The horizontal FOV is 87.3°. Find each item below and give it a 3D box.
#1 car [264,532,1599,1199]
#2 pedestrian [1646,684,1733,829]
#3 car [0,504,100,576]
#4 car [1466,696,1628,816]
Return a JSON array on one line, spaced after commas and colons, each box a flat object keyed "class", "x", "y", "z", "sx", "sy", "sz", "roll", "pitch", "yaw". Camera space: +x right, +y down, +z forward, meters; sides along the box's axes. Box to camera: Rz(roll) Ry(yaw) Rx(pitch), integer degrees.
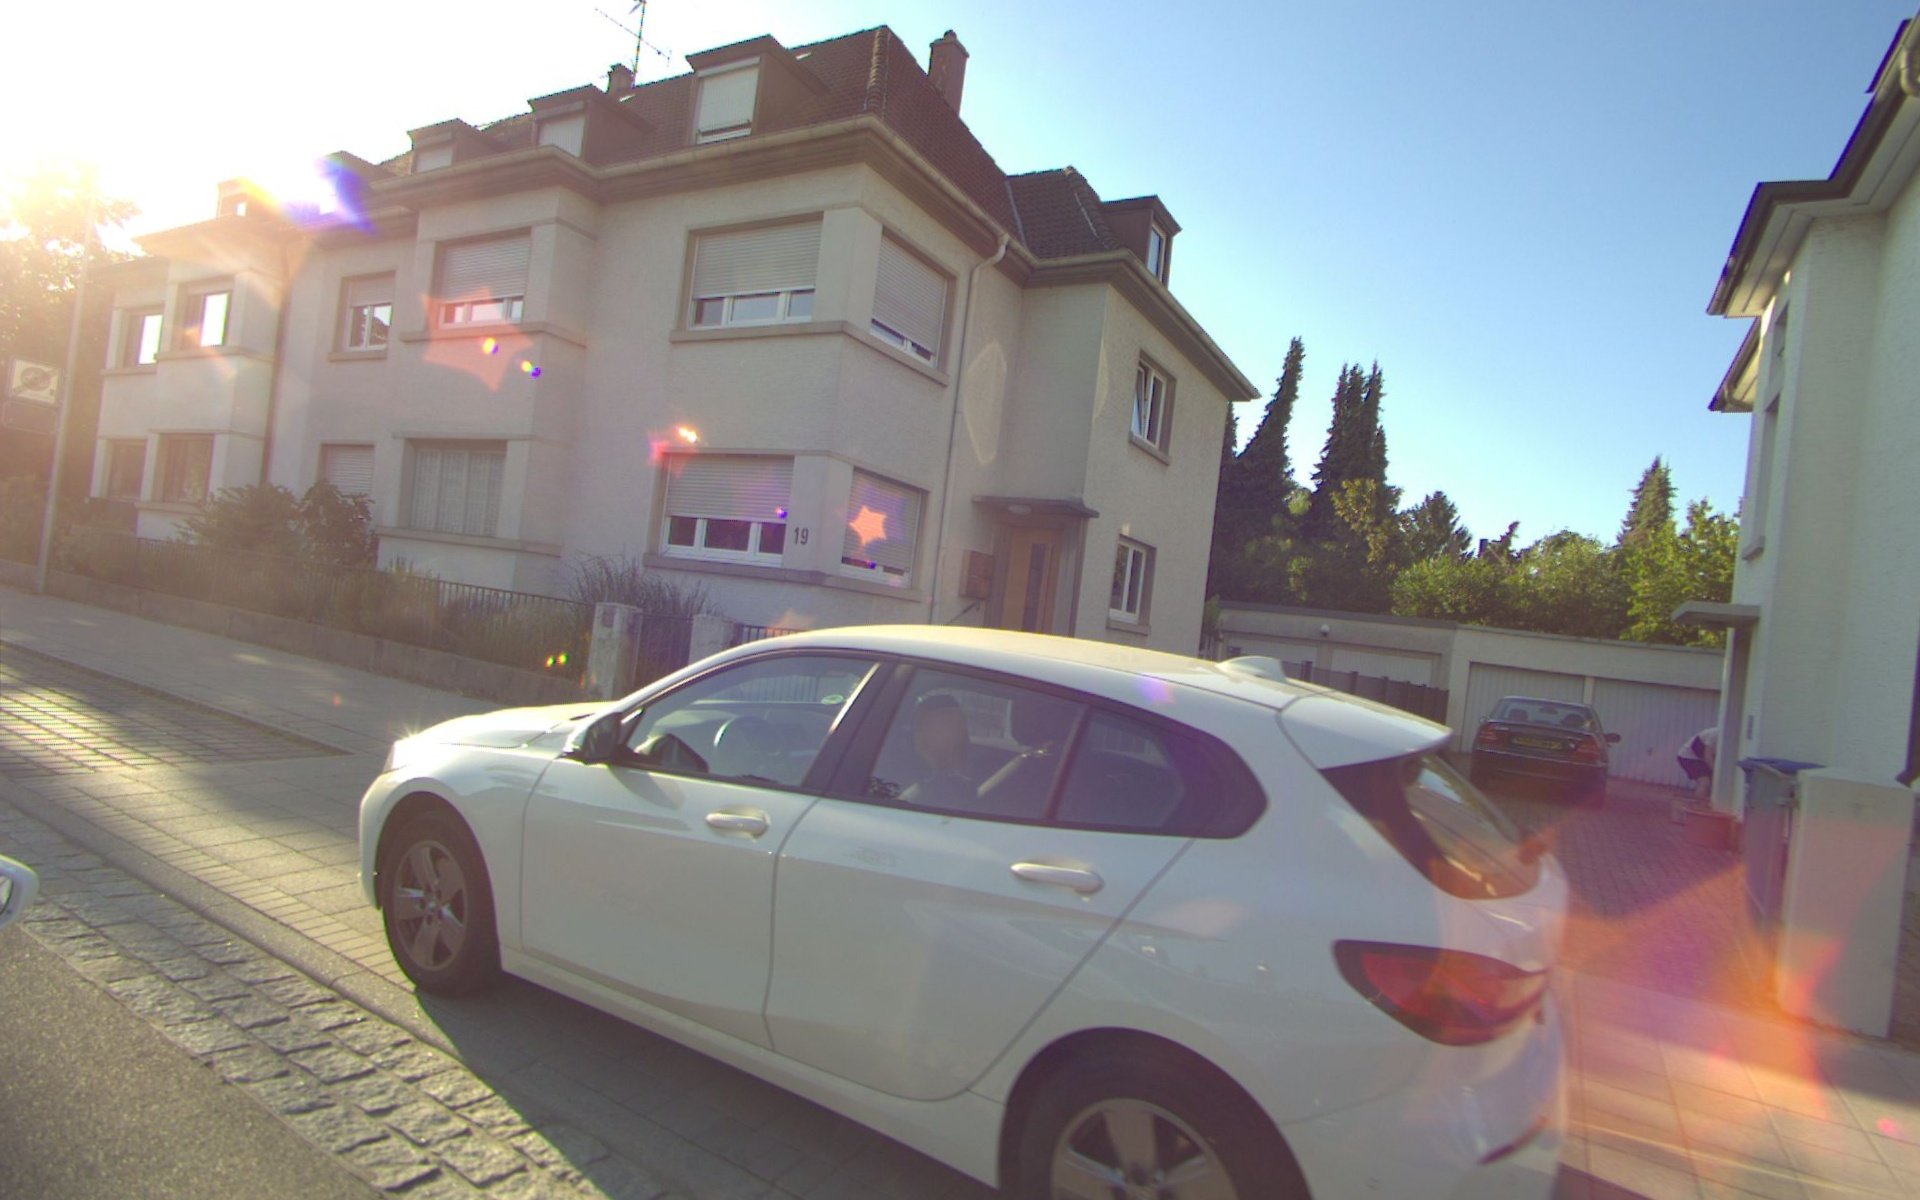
[{"class": "car", "x": -0.352, "y": 0.766, "z": 3.533, "sx": 4.162, "sy": 1.526, "sz": 1.785, "roll": 7, "pitch": 1, "yaw": 31}, {"class": "pedestrian", "x": 9.771, "y": 2.067, "z": 13.506, "sx": 0.702, "sy": 1.782, "sz": 0.695, "roll": 6, "pitch": 1, "yaw": 30}, {"class": "car", "x": -22.880, "y": -1.533, "z": 23.621, "sx": 1.751, "sy": 1.514, "sz": 3.638, "roll": 6, "pitch": 0, "yaw": 31}, {"class": "car", "x": 8.773, "y": 2.218, "z": 14.887, "sx": 1.639, "sy": 1.305, "sz": 3.824, "roll": 6, "pitch": -2, "yaw": 35}]
